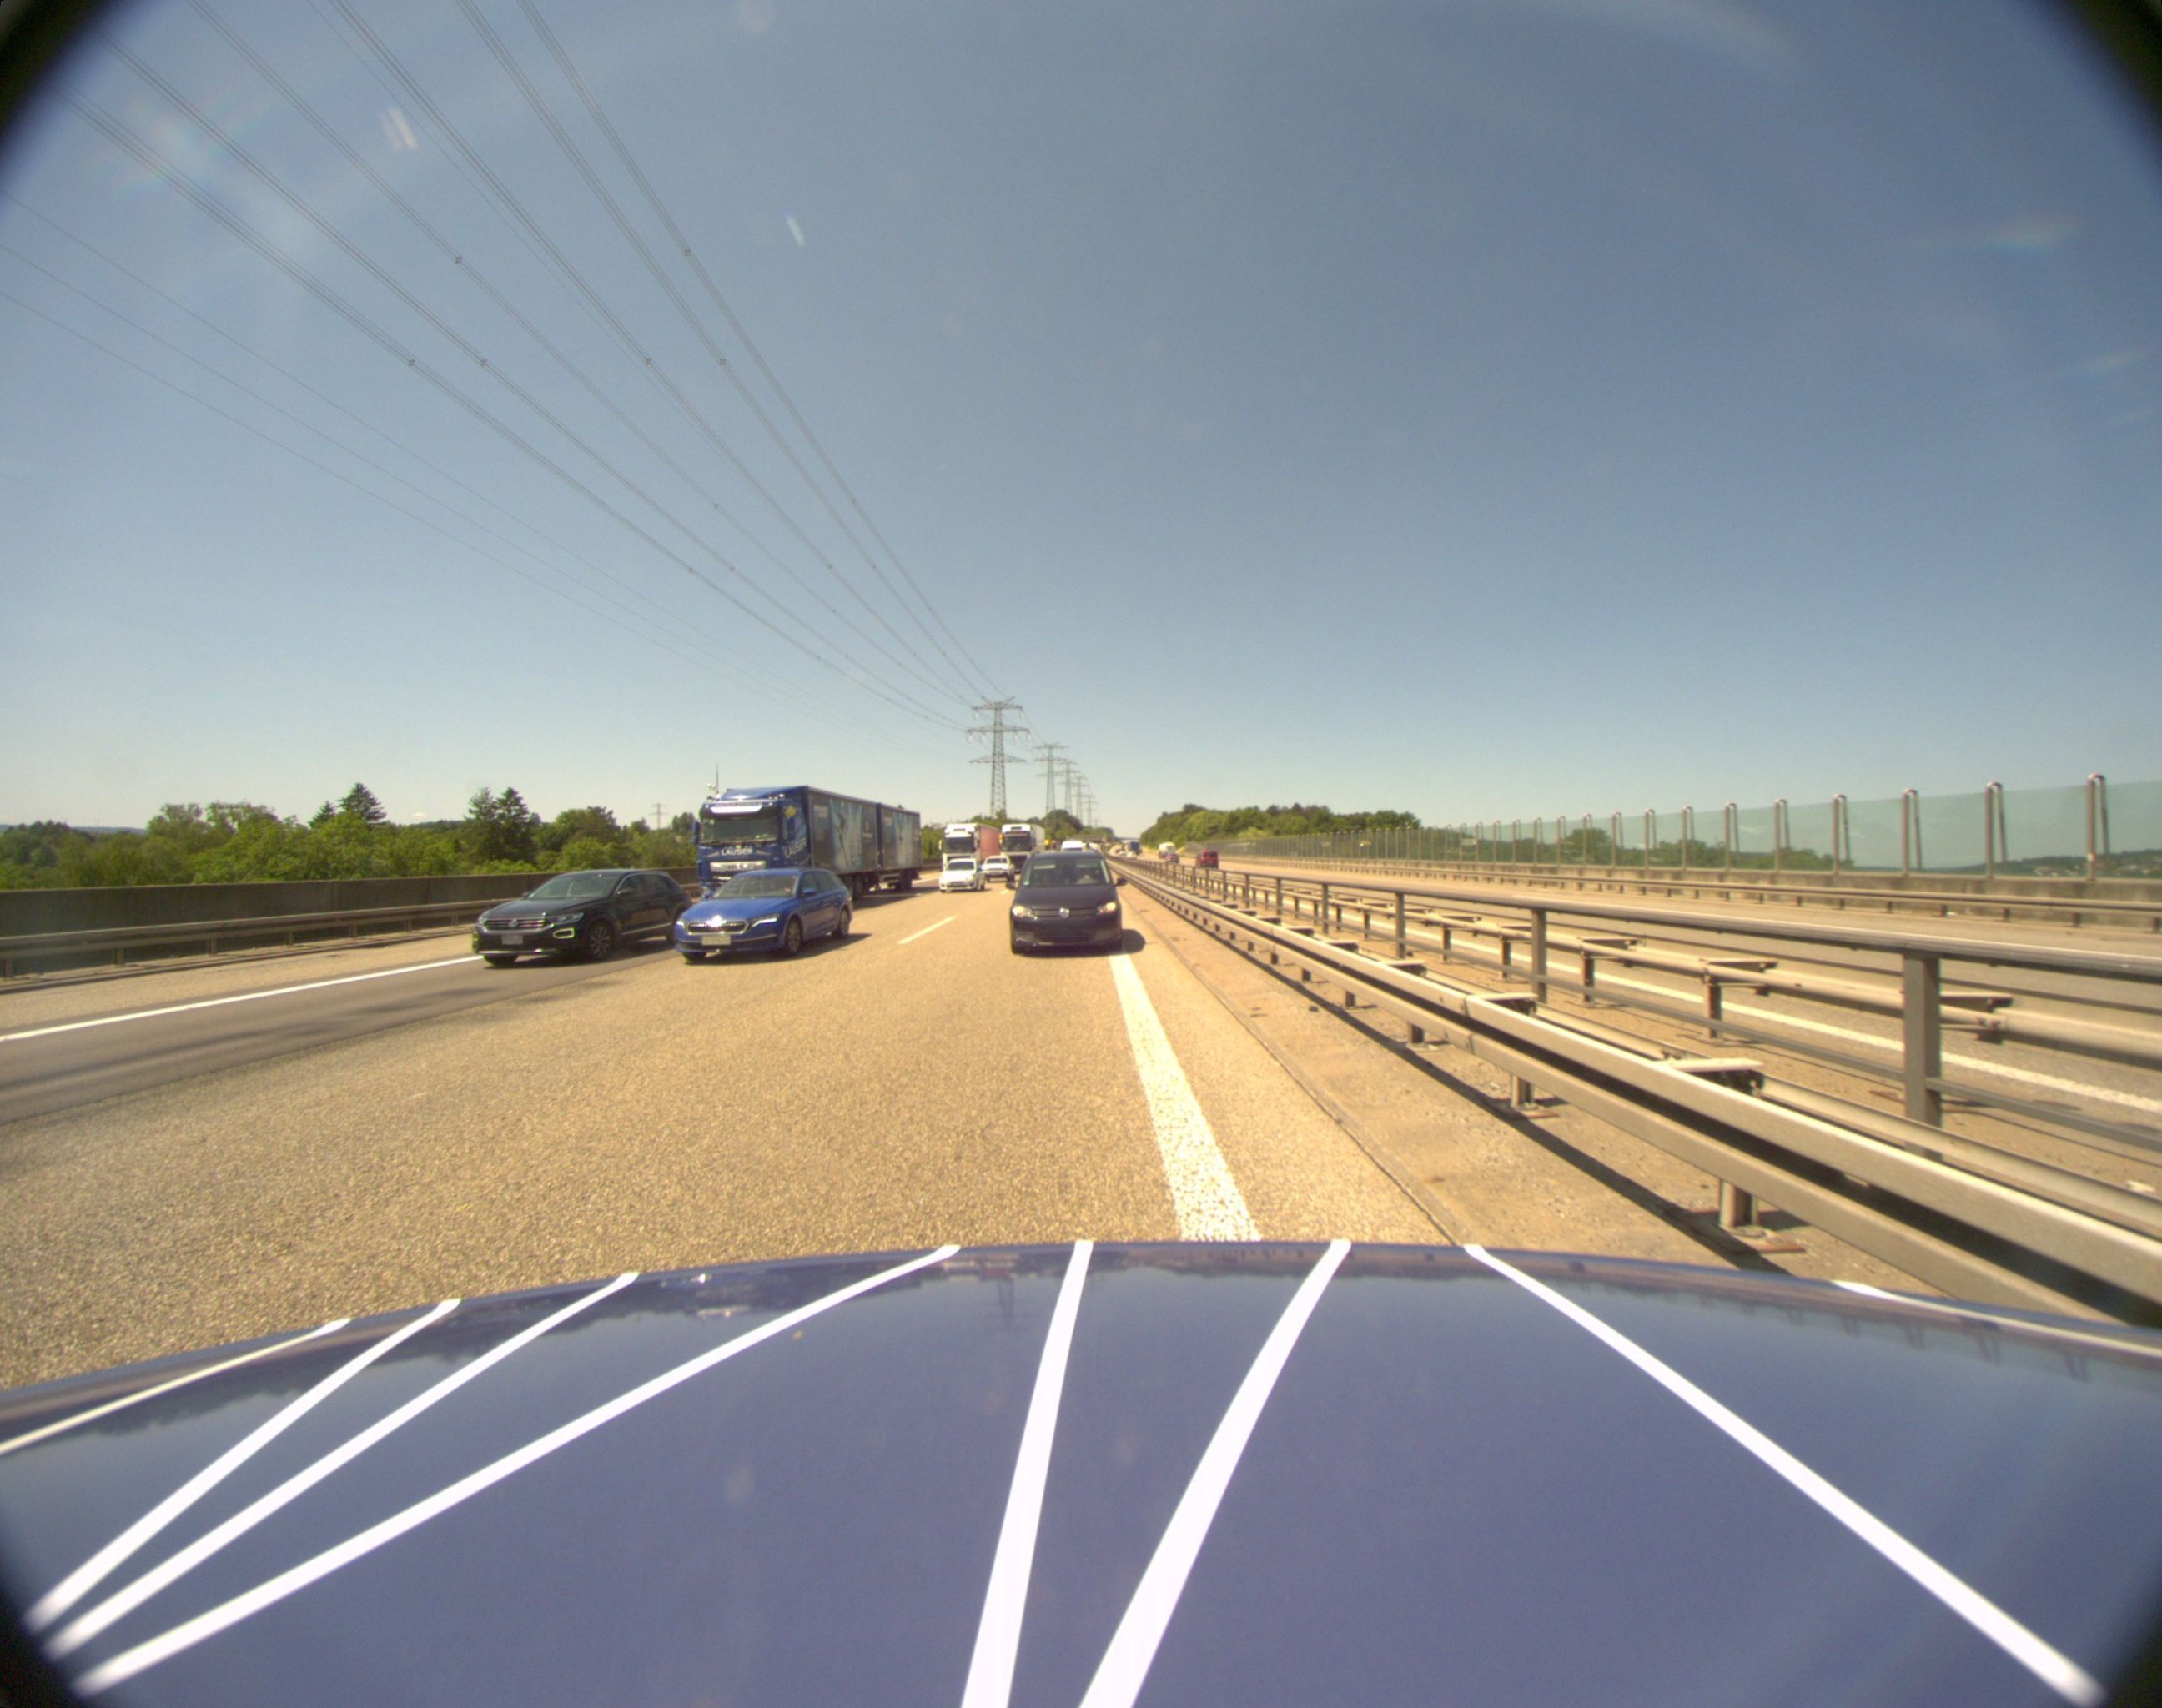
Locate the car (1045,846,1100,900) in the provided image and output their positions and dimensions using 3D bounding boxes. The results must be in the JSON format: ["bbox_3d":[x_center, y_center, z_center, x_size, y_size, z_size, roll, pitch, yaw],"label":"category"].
[{"bbox_3d":[-0.260,0.610,26.665,1.713,1.669,3.931,-2,1,0],"label":"car"}]

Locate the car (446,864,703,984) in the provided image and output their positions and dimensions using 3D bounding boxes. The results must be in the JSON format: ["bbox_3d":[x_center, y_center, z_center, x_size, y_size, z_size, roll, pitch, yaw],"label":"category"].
[{"bbox_3d":[-8.732,1.093,13.610,1.712,1.645,4.117,-2,1,1],"label":"car"}]

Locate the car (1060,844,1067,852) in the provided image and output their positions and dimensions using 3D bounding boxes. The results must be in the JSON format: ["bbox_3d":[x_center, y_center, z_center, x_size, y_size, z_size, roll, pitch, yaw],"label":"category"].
[{"bbox_3d":[-4.949,-1.745,216.945,1.704,2.116,3.999,2,1,1],"label":"car"}]

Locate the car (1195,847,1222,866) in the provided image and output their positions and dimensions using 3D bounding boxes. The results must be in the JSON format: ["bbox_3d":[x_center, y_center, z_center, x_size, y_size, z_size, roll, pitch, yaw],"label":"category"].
[{"bbox_3d":[12.712,0.241,75.997,1.844,1.812,4.746,0,1,-1],"label":"car"}]

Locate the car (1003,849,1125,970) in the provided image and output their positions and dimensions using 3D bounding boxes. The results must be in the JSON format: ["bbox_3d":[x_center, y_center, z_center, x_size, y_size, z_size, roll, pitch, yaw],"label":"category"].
[{"bbox_3d":[-0.241,0.802,13.073,1.713,1.669,3.931,-2,1,0],"label":"car"}]

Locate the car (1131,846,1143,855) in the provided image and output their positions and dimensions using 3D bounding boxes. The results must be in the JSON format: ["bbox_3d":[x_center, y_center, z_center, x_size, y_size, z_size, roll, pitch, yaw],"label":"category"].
[{"bbox_3d":[10.630,-0.739,145.192,1.876,1.521,3.608,4,1,0],"label":"car"}]

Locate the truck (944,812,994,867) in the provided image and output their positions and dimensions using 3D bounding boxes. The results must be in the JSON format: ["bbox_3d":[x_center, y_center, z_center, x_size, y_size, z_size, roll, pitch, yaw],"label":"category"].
[{"bbox_3d":[-8.721,-1.119,59.982,2.608,3.965,8.263,-2,1,0],"label":"truck"}]

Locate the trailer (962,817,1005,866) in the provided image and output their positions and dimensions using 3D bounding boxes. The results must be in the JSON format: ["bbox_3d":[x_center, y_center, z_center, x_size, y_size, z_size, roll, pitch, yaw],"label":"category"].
[{"bbox_3d":[-8.678,-1.115,68.699,2.608,4.094,9.083,-2,1,0],"label":"trailer"}]

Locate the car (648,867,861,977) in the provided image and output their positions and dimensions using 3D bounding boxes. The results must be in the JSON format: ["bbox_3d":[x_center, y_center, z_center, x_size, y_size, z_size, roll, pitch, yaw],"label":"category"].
[{"bbox_3d":[-5.528,1.054,13.617,1.712,1.443,4.563,-2,1,1],"label":"car"}]

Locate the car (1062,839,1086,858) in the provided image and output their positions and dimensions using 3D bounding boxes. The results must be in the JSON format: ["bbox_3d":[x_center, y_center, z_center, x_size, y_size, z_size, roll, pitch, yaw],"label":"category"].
[{"bbox_3d":[-0.590,-0.481,66.585,1.924,1.501,3.996,-2,1,1],"label":"car"}]

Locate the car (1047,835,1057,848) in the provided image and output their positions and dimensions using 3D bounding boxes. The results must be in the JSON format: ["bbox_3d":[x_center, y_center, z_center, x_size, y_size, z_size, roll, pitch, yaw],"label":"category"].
[{"bbox_3d":[-5.878,-2.509,155.325,1.704,2.525,3.999,2,1,1],"label":"car"}]

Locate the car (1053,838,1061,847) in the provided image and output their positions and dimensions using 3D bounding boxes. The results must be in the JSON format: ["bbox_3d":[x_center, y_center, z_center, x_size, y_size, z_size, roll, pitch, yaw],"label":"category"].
[{"bbox_3d":[-5.923,-2.769,184.228,1.704,2.116,3.999,2,1,1],"label":"car"}]

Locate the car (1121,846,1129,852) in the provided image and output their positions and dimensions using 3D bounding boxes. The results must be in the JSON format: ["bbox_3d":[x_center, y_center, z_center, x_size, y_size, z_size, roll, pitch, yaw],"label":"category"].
[{"bbox_3d":[11.718,-1.405,202.106,1.811,1.630,3.999,1,1,-1],"label":"car"}]

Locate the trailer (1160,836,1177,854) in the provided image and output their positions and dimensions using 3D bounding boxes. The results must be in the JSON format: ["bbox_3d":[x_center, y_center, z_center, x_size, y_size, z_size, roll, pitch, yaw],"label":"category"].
[{"bbox_3d":[18.494,-1.926,160.832,2.505,3.520,10.901,0,1,1],"label":"trailer"}]

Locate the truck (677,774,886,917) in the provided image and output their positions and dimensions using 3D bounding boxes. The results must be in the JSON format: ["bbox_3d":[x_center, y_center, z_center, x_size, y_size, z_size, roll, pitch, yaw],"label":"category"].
[{"bbox_3d":[-9.741,-0.319,26.565,2.859,3.927,10.393,-2,1,1],"label":"truck"}]

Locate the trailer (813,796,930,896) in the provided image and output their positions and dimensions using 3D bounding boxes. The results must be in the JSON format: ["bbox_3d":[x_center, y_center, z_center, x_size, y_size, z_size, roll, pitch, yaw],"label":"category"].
[{"bbox_3d":[-9.610,-0.386,36.061,2.835,4.066,8.636,-2,1,1],"label":"trailer"}]

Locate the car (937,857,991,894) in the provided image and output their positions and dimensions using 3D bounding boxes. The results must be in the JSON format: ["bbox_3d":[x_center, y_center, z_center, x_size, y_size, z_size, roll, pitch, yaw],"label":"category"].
[{"bbox_3d":[-5.300,0.930,34.817,1.712,1.443,4.144,-2,1,1],"label":"car"}]

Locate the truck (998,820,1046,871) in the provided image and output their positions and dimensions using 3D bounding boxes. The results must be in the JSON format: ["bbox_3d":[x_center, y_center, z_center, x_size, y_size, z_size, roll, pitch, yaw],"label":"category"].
[{"bbox_3d":[-4.740,-0.711,62.387,2.849,3.804,8.264,-2,1,2],"label":"truck"}]

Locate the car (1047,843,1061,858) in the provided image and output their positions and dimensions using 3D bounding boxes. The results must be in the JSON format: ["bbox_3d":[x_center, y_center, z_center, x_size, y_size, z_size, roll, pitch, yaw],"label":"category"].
[{"bbox_3d":[-3.862,-0.523,109.386,1.704,2.116,3.999,2,1,1],"label":"car"}]

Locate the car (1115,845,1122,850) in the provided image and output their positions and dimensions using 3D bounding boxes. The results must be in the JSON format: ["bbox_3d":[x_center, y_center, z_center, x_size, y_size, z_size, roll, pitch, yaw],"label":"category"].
[{"bbox_3d":[12.577,-2.271,254.339,1.887,1.543,4.188,-2,1,-1],"label":"car"}]

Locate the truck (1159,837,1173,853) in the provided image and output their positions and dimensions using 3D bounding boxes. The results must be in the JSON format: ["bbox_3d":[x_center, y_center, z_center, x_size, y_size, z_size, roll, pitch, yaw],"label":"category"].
[{"bbox_3d":[18.550,-2.045,166.833,2.527,3.514,5.329,0,1,1],"label":"truck"}]

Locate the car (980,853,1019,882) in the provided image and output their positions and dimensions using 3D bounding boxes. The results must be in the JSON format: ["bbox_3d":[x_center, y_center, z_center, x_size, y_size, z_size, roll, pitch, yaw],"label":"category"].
[{"bbox_3d":[-4.796,0.777,45.176,1.712,1.501,4.144,-2,1,1],"label":"car"}]

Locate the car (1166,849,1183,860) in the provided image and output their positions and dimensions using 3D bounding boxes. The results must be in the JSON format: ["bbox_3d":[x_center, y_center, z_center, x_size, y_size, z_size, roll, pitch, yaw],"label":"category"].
[{"bbox_3d":[13.415,0.058,109.631,1.876,1.434,4.384,1,1,0],"label":"car"}]

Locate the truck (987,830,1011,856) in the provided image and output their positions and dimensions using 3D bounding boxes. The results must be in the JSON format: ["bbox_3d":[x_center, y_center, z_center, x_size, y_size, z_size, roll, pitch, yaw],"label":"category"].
[{"bbox_3d":[-9.976,-1.367,92.941,2.251,2.965,6.242,2,1,-1],"label":"truck"}]

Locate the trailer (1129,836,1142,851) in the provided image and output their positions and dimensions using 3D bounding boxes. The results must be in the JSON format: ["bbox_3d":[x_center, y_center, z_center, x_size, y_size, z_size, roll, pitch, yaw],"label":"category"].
[{"bbox_3d":[15.584,-3.121,218.959,2.711,4.141,12.047,0,1,0],"label":"trailer"}]
